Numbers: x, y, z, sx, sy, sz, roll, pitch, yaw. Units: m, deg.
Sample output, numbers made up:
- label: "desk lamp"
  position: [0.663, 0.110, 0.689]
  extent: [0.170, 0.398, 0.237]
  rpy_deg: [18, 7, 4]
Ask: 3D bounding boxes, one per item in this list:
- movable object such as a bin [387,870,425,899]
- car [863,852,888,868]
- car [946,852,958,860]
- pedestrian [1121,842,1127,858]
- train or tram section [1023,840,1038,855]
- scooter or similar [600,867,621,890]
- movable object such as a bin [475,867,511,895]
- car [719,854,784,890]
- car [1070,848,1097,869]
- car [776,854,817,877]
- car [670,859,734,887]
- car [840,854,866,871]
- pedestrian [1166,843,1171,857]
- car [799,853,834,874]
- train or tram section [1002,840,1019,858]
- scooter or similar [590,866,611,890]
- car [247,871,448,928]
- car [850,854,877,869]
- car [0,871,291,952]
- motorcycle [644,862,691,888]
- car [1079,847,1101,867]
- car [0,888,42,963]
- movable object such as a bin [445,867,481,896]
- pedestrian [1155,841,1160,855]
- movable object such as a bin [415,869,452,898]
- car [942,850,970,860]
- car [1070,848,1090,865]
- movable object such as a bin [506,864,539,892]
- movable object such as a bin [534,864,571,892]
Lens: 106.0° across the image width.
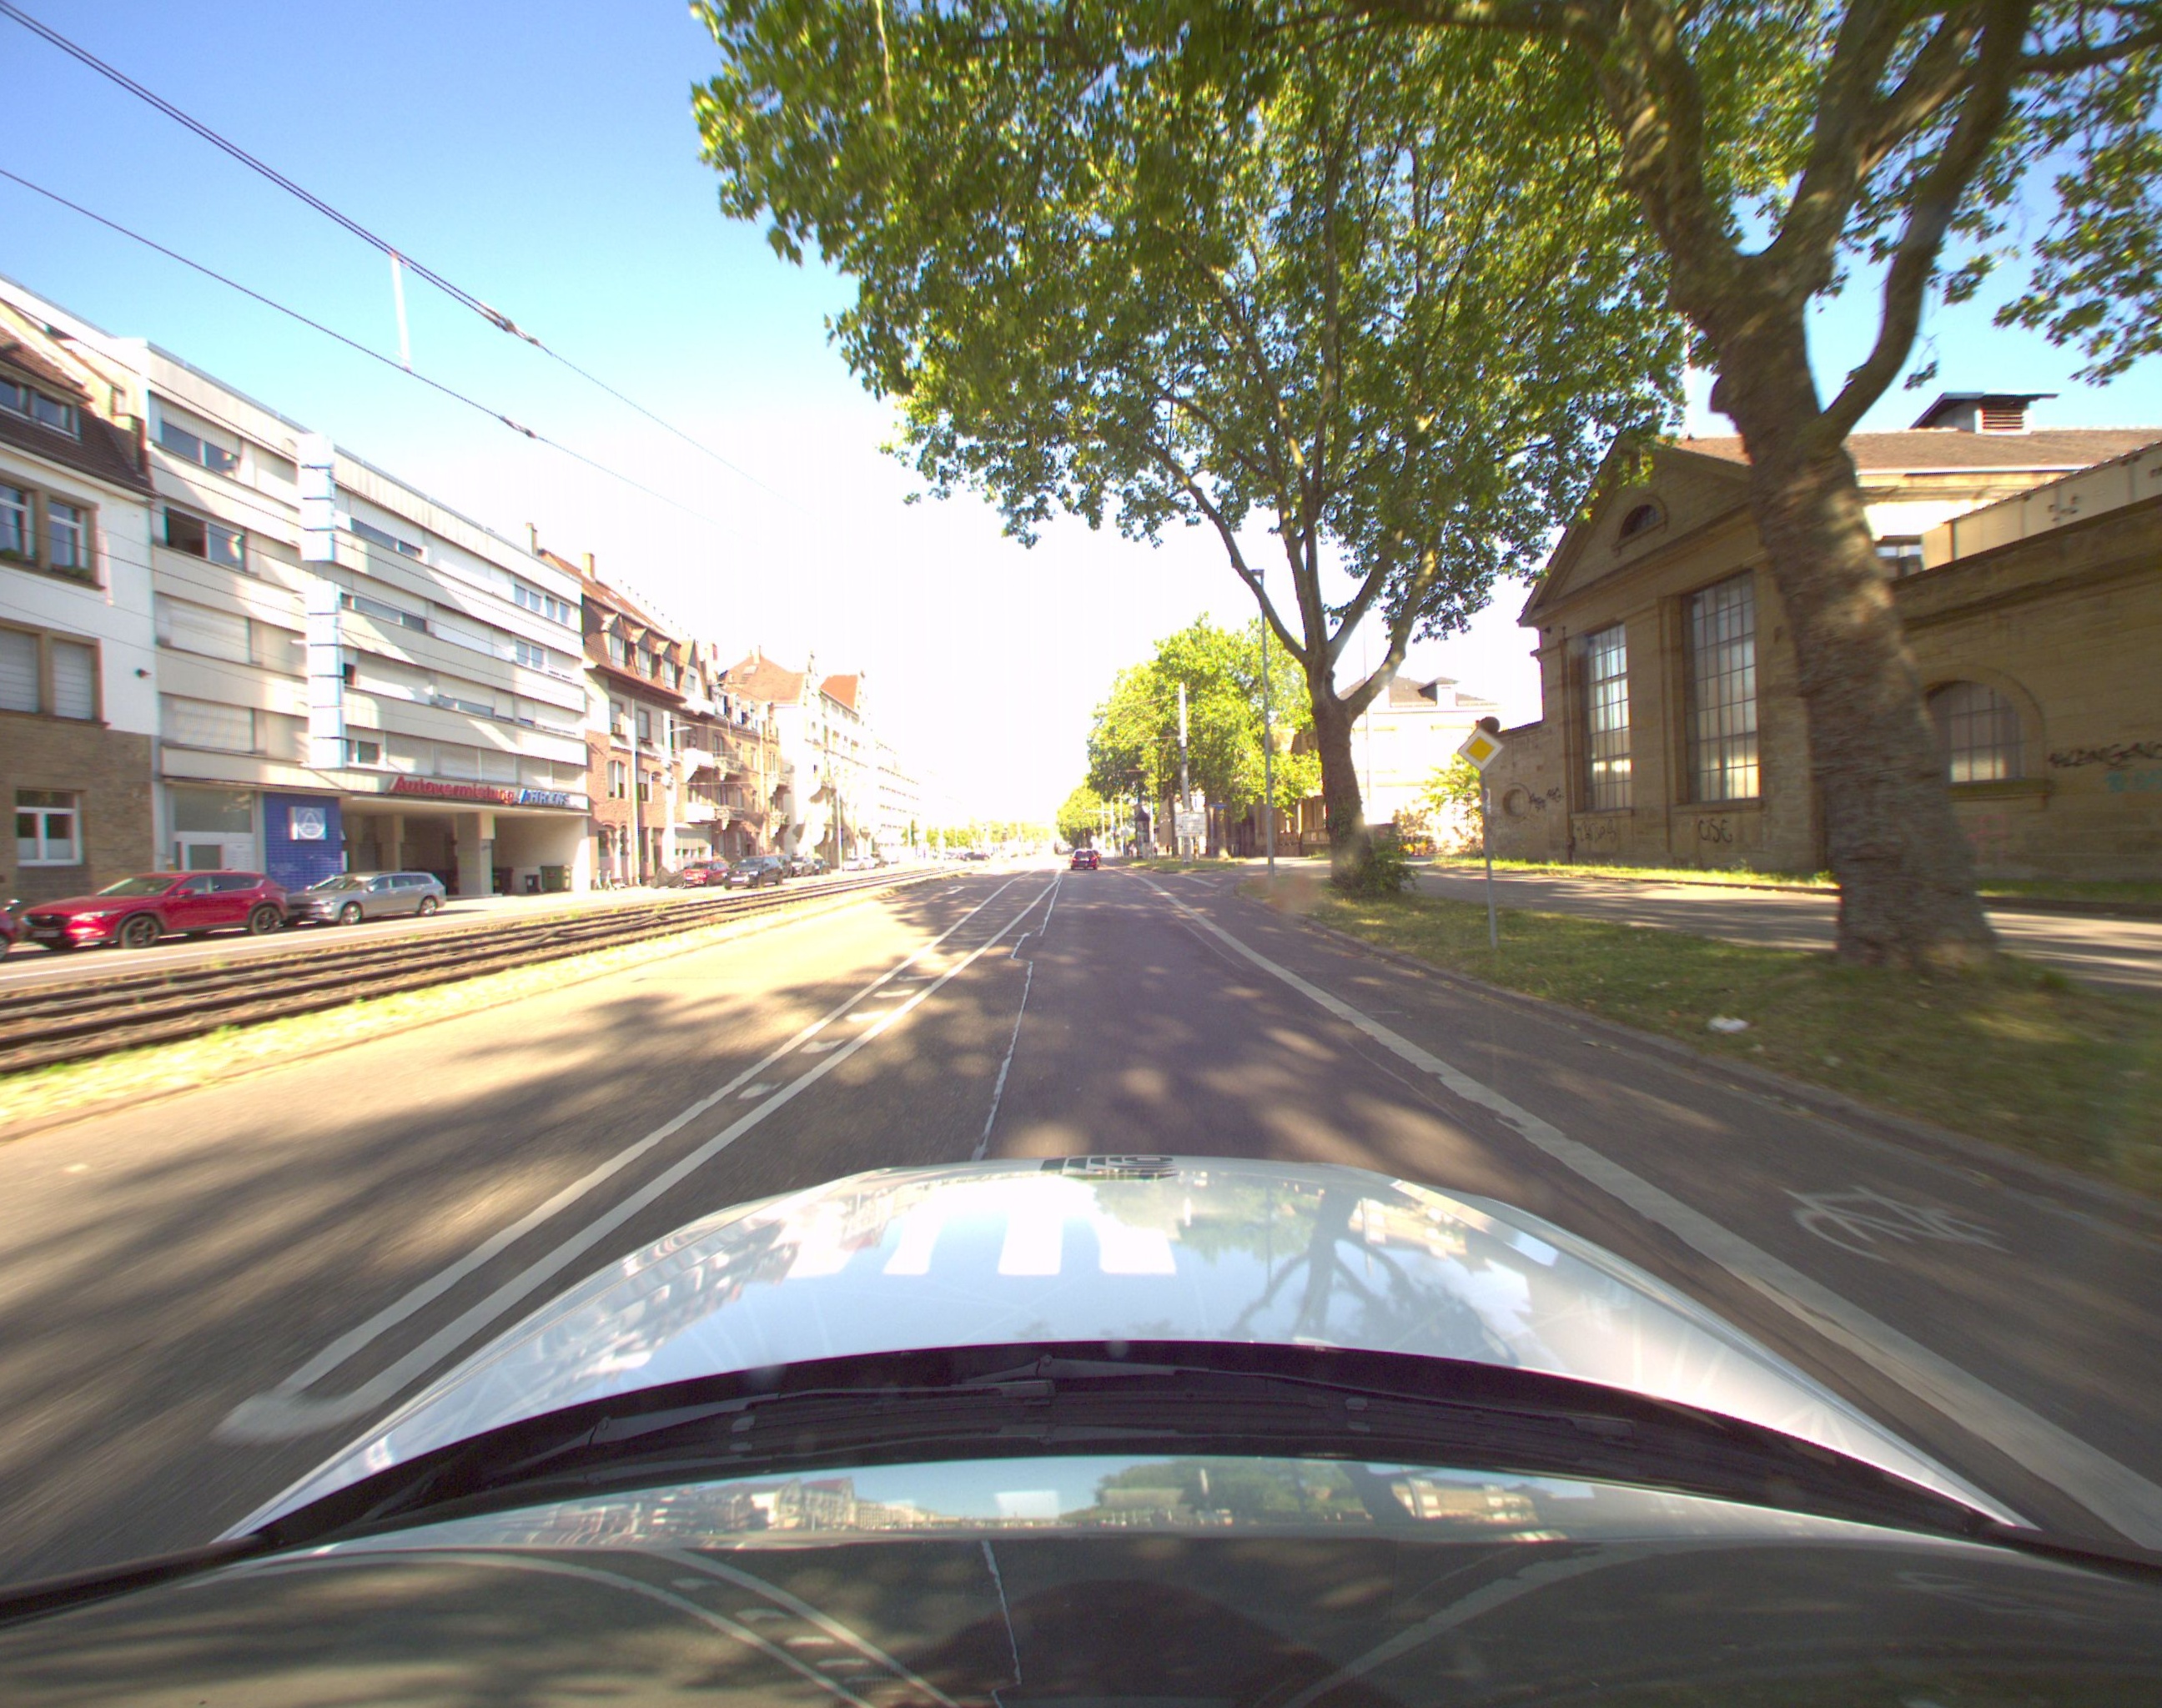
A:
- label: "movable object such as a bin"
  position: [-33.741, 1.513, 40.713]
  extent: [1.263, 1.371, 0.635]
  rpy_deg: [-2, 0, -2]
- label: "car"
  position: [-23.119, 0.607, 91.694]
  extent: [1.790, 1.719, 4.181]
  rpy_deg: [1, 0, -2]
- label: "car"
  position: [-25.086, 0.429, 158.027]
  extent: [1.790, 1.510, 3.995]
  rpy_deg: [-2, 0, -3]
- label: "pedestrian"
  position: [4.584, -0.459, 87.413]
  extent: [0.584, 1.728, 0.652]
  rpy_deg: [0, 0, 11]
- label: "train or tram section"
  position: [-12.391, -1.516, 199.878]
  extent: [2.816, 3.450, 9.063]
  rpy_deg: [-2, 0, 0]
- label: "scooter or similar"
  position: [-24.725, 1.280, 42.841]
  extent: [0.390, 1.205, 1.200]
  rpy_deg: [1, 0, 0]
- label: "movable object such as a bin"
  position: [-29.623, 1.360, 41.038]
  extent: [1.265, 1.371, 0.634]
  rpy_deg: [-2, 0, -5]
- label: "car"
  position: [-16.306, 0.836, 40.546]
  extent: [1.631, 1.601, 4.155]
  rpy_deg: [-3, 1, -3]
- label: "car"
  position: [0.148, 0.297, 57.976]
  extent: [1.828, 1.391, 4.156]
  rpy_deg: [-1, 0, -2]
- label: "car"
  position: [-22.020, 0.868, 63.210]
  extent: [1.682, 1.652, 4.197]
  rpy_deg: [1, 0, -1]
- label: "car"
  position: [-21.900, 1.071, 47.244]
  extent: [1.789, 1.460, 4.263]
  rpy_deg: [1, 0, -2]
- label: "car"
  position: [-22.573, 0.822, 80.656]
  extent: [1.791, 1.510, 3.993]
  rpy_deg: [1, 0, -5]
- label: "pedestrian"
  position: [10.722, -0.546, 100.004]
  extent: [0.584, 1.728, 0.652]
  rpy_deg: [0, 0, 13]
- label: "car"
  position: [-22.227, 0.780, 68.578]
  extent: [1.682, 1.652, 4.197]
  rpy_deg: [1, 0, -1]
- label: "train or tram section"
  position: [-14.523, -0.993, 168.606]
  extent: [2.817, 3.450, 9.060]
  rpy_deg: [-2, 0, -1]
- label: "scooter or similar"
  position: [-25.288, 1.267, 42.898]
  extent: [0.390, 1.205, 1.200]
  rpy_deg: [1, 0, 0]
- label: "car"
  position: [-21.672, 1.281, 24.398]
  extent: [1.828, 1.391, 4.679]
  rpy_deg: [-1, 0, -2]
- label: "car"
  position: [-22.980, 0.763, 86.128]
  extent: [1.790, 1.510, 4.181]
  rpy_deg: [1, 0, -2]
- label: "car"
  position: [-21.542, 1.230, 19.076]
  extent: [1.827, 1.558, 4.352]
  rpy_deg: [-1, 0, 0]
- label: "motorcycle"
  position: [-22.208, 1.117, 43.789]
  extent: [2.072, 1.327, 0.836]
  rpy_deg: [1, 0, -17]
- label: "car"
  position: [0.720, 0.237, 67.730]
  extent: [1.789, 1.510, 3.999]
  rpy_deg: [-2, 0, 0]
- label: "car"
  position: [-21.455, 1.375, 14.138]
  extent: [1.831, 1.391, 4.027]
  rpy_deg: [1, 0, -6]
- label: "movable object such as a bin"
  position: [-30.959, 1.380, 40.826]
  extent: [1.263, 1.371, 0.635]
  rpy_deg: [-2, 0, -2]
- label: "pedestrian"
  position: [9.411, -0.748, 100.069]
  extent: [0.584, 1.728, 0.652]
  rpy_deg: [0, 0, 11]
- label: "movable object such as a bin"
  position: [-32.404, 1.455, 40.753]
  extent: [1.263, 1.371, 0.635]
  rpy_deg: [-2, 0, -2]
- label: "car"
  position: [-18.605, 0.131, 121.304]
  extent: [3.995, 1.510, 1.790]
  rpy_deg: [0, -1, -16]
- label: "car"
  position: [-0.073, 0.230, 76.215]
  extent: [1.789, 1.510, 3.999]
  rpy_deg: [-2, 0, 0]
- label: "movable object such as a bin"
  position: [-28.159, 1.209, 41.079]
  extent: [1.192, 1.371, 0.633]
  rpy_deg: [-1, 0, -8]
- label: "movable object such as a bin"
  position: [-26.752, 1.204, 41.239]
  extent: [1.410, 1.371, 0.633]
  rpy_deg: [-1, 0, -8]
